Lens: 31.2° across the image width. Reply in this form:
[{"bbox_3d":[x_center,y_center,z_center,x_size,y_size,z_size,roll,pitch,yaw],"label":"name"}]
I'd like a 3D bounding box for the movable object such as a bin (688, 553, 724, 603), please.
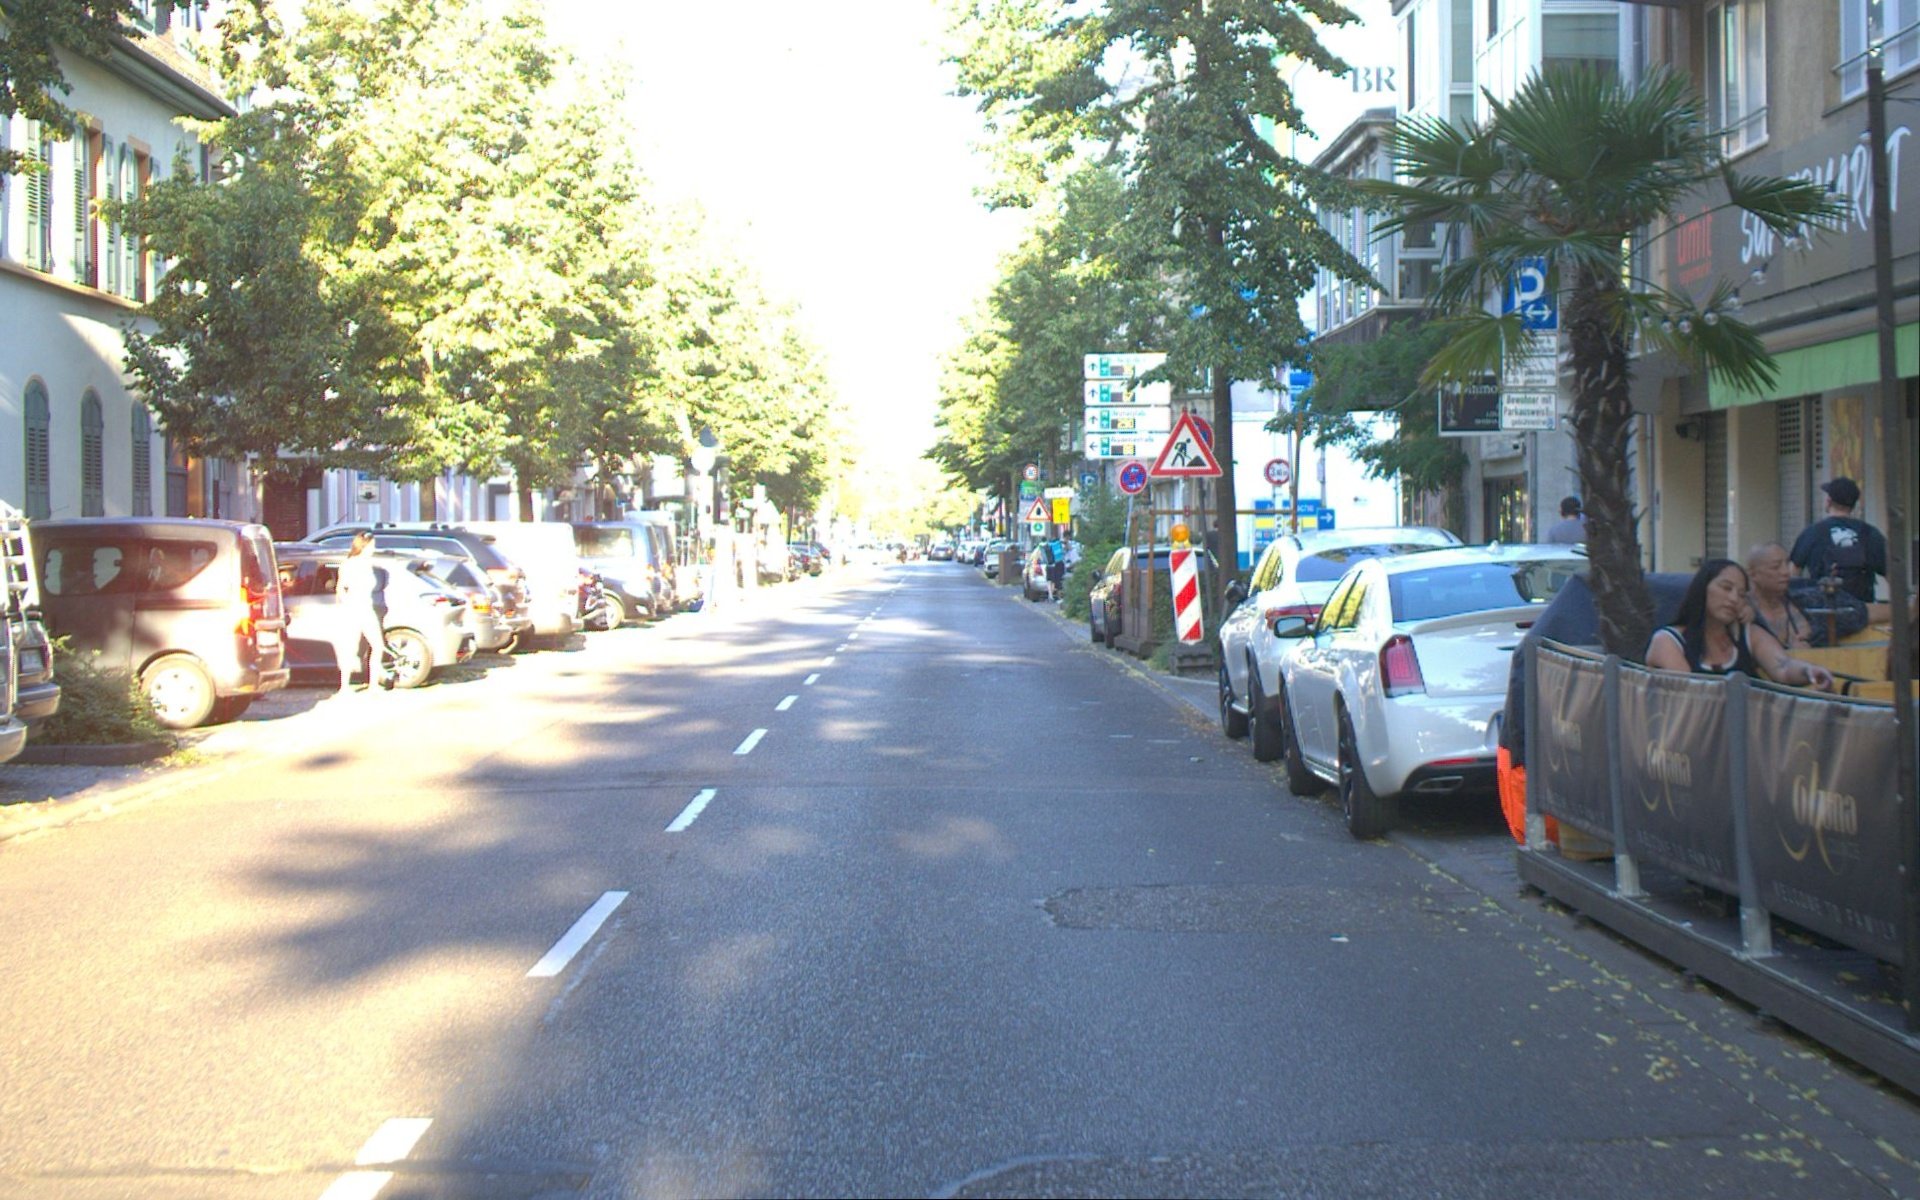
[{"bbox_3d":[-5.734,-0.508,77.683,0.690,1.101,0.883,-1,1,2],"label":"movable object such as a bin"}]

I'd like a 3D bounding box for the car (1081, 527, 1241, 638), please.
[{"bbox_3d":[2.916,-0.290,50.707,1.828,1.483,4.850,-2,1,-2],"label":"car"}]

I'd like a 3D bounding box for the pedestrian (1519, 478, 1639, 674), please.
[{"bbox_3d":[5.804,-0.233,32.258,0.855,1.788,0.997,-1,1,-4],"label":"pedestrian"}]

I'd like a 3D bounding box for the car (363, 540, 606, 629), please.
[{"bbox_3d":[-8.286,-0.289,60.116,3.923,1.496,1.905,0,1,2],"label":"car"}]

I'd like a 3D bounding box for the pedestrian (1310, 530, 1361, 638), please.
[{"bbox_3d":[5.404,-0.234,49.531,0.610,1.520,0.773,-1,1,0],"label":"pedestrian"}]

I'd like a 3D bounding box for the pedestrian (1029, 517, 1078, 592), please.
[{"bbox_3d":[2.353,-1.146,86.323,1.013,1.819,0.780,-3,1,-10],"label":"pedestrian"}]

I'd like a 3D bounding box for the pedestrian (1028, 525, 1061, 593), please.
[{"bbox_3d":[2.193,-1.056,89.129,0.677,1.748,0.825,-1,1,-11],"label":"pedestrian"}]

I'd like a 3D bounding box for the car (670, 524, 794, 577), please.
[{"bbox_3d":[-8.621,-1.868,130.204,4.571,1.955,1.991,0,1,0],"label":"car"}]

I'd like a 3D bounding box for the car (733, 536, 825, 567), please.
[{"bbox_3d":[-9.037,-2.404,171.857,4.442,1.518,1.919,0,1,1],"label":"car"}]

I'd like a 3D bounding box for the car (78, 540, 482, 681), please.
[{"bbox_3d":[-7.287,0.095,37.101,4.058,1.456,1.686,0,1,-3],"label":"car"}]

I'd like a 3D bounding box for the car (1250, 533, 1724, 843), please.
[{"bbox_3d":[2.875,0.396,19.921,1.842,1.475,5.190,-3,1,0],"label":"car"}]

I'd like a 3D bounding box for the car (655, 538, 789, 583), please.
[{"bbox_3d":[-8.262,-1.375,119.671,4.546,1.536,1.811,0,1,-1],"label":"car"}]

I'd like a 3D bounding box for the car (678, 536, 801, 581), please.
[{"bbox_3d":[-8.504,-1.620,132.890,4.571,1.692,2.060,0,1,1],"label":"car"}]

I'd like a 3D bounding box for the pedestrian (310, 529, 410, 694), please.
[{"bbox_3d":[-6.046,0.104,34.659,0.827,1.632,0.827,-1,1,1],"label":"pedestrian"}]

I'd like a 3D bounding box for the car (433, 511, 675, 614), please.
[{"bbox_3d":[-7.906,-0.746,67.289,4.483,1.969,2.068,0,1,1],"label":"car"}]

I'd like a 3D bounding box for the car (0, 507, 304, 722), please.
[{"bbox_3d":[-7.977,0.111,29.936,4.138,1.800,1.807,0,1,2],"label":"car"}]

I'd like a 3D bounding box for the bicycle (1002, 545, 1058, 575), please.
[{"bbox_3d":[2.521,-1.456,123.914,1.958,1.070,0.704,1,1,32],"label":"bicycle"}]

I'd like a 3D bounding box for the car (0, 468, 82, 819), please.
[{"bbox_3d":[-7.544,0.223,19.718,4.500,1.947,1.919,0,1,2],"label":"car"}]

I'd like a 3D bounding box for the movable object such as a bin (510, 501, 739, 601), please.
[{"bbox_3d":[-8.576,-1.264,88.231,2.312,2.486,5.740,1,1,43],"label":"movable object such as a bin"}]

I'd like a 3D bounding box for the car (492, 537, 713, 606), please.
[{"bbox_3d":[-7.851,-0.637,75.726,4.594,1.465,1.892,1,1,3],"label":"car"}]

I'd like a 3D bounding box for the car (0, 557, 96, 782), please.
[{"bbox_3d":[-8.051,0.438,22.948,4.152,1.434,1.593,0,1,1],"label":"car"}]

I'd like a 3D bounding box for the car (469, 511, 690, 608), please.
[{"bbox_3d":[-7.994,-0.856,72.585,4.483,1.969,1.966,1,1,-2],"label":"car"}]

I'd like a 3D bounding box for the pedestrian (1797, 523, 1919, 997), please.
[{"bbox_3d":[2.922,0.460,10.403,0.577,1.380,0.603,-2,1,0],"label":"pedestrian"}]

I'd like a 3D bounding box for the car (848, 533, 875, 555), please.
[{"bbox_3d":[-6.960,-3.953,244.064,1.752,1.535,3.303,-1,0,1],"label":"car"}]

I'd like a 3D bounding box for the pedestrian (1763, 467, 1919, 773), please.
[{"bbox_3d":[5.103,0.105,19.707,0.788,1.698,0.700,-2,1,0],"label":"pedestrian"}]

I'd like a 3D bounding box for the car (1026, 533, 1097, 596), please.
[{"bbox_3d":[2.697,-0.978,92.248,1.687,1.569,4.013,-3,1,0],"label":"car"}]

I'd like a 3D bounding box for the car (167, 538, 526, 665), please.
[{"bbox_3d":[-7.449,-0.001,42.008,4.037,1.478,1.963,0,1,0],"label":"car"}]

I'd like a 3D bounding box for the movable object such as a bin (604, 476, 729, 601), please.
[{"bbox_3d":[-7.104,-1.495,83.819,2.625,2.959,5.304,0,1,-1],"label":"movable object such as a bin"}]

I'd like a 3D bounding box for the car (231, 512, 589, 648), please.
[{"bbox_3d":[-7.932,-0.308,49.905,4.870,1.901,1.974,0,1,0],"label":"car"}]

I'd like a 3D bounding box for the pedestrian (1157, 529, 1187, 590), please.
[{"bbox_3d":[5.526,-1.058,89.589,0.658,1.557,0.701,-3,1,0],"label":"pedestrian"}]

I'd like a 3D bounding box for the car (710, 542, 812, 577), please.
[{"bbox_3d":[-8.941,-1.816,154.465,4.442,1.562,1.919,0,1,1],"label":"car"}]

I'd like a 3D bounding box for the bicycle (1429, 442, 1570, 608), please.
[{"bbox_3d":[4.349,-0.605,27.831,0.775,1.258,2.050,-3,1,0],"label":"bicycle"}]

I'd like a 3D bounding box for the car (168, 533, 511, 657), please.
[{"bbox_3d":[-7.981,-0.079,44.473,4.037,1.550,1.964,0,1,2],"label":"car"}]

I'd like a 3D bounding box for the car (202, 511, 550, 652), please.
[{"bbox_3d":[-7.950,-0.267,47.114,4.428,1.863,1.894,0,1,0],"label":"car"}]

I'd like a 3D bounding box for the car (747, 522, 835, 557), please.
[{"bbox_3d":[-8.750,-3.119,178.352,4.442,1.753,1.919,0,1,1],"label":"car"}]

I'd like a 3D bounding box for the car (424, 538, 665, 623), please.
[{"bbox_3d":[-7.603,-0.367,63.147,4.325,1.496,1.842,1,1,-5],"label":"car"}]

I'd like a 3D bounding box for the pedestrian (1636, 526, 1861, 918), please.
[{"bbox_3d":[2.764,0.411,12.099,0.577,1.315,0.704,-2,1,0],"label":"pedestrian"}]

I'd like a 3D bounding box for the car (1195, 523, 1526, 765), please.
[{"bbox_3d":[2.898,0.257,25.850,1.879,1.568,4.692,-3,1,0],"label":"car"}]

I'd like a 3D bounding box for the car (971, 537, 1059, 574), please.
[{"bbox_3d":[2.395,-1.935,148.638,1.674,1.583,3.814,1,1,43],"label":"car"}]

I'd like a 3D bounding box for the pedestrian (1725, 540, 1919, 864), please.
[{"bbox_3d":[3.425,0.391,13.689,0.577,1.239,0.603,-2,1,0],"label":"pedestrian"}]

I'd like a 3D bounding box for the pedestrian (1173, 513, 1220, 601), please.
[{"bbox_3d":[5.127,-0.929,74.490,0.822,1.847,1.097,-3,1,-2],"label":"pedestrian"}]

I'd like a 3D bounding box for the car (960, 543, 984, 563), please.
[{"bbox_3d":[0.811,-3.112,228.225,1.513,1.271,3.303,0,0,1],"label":"car"}]
